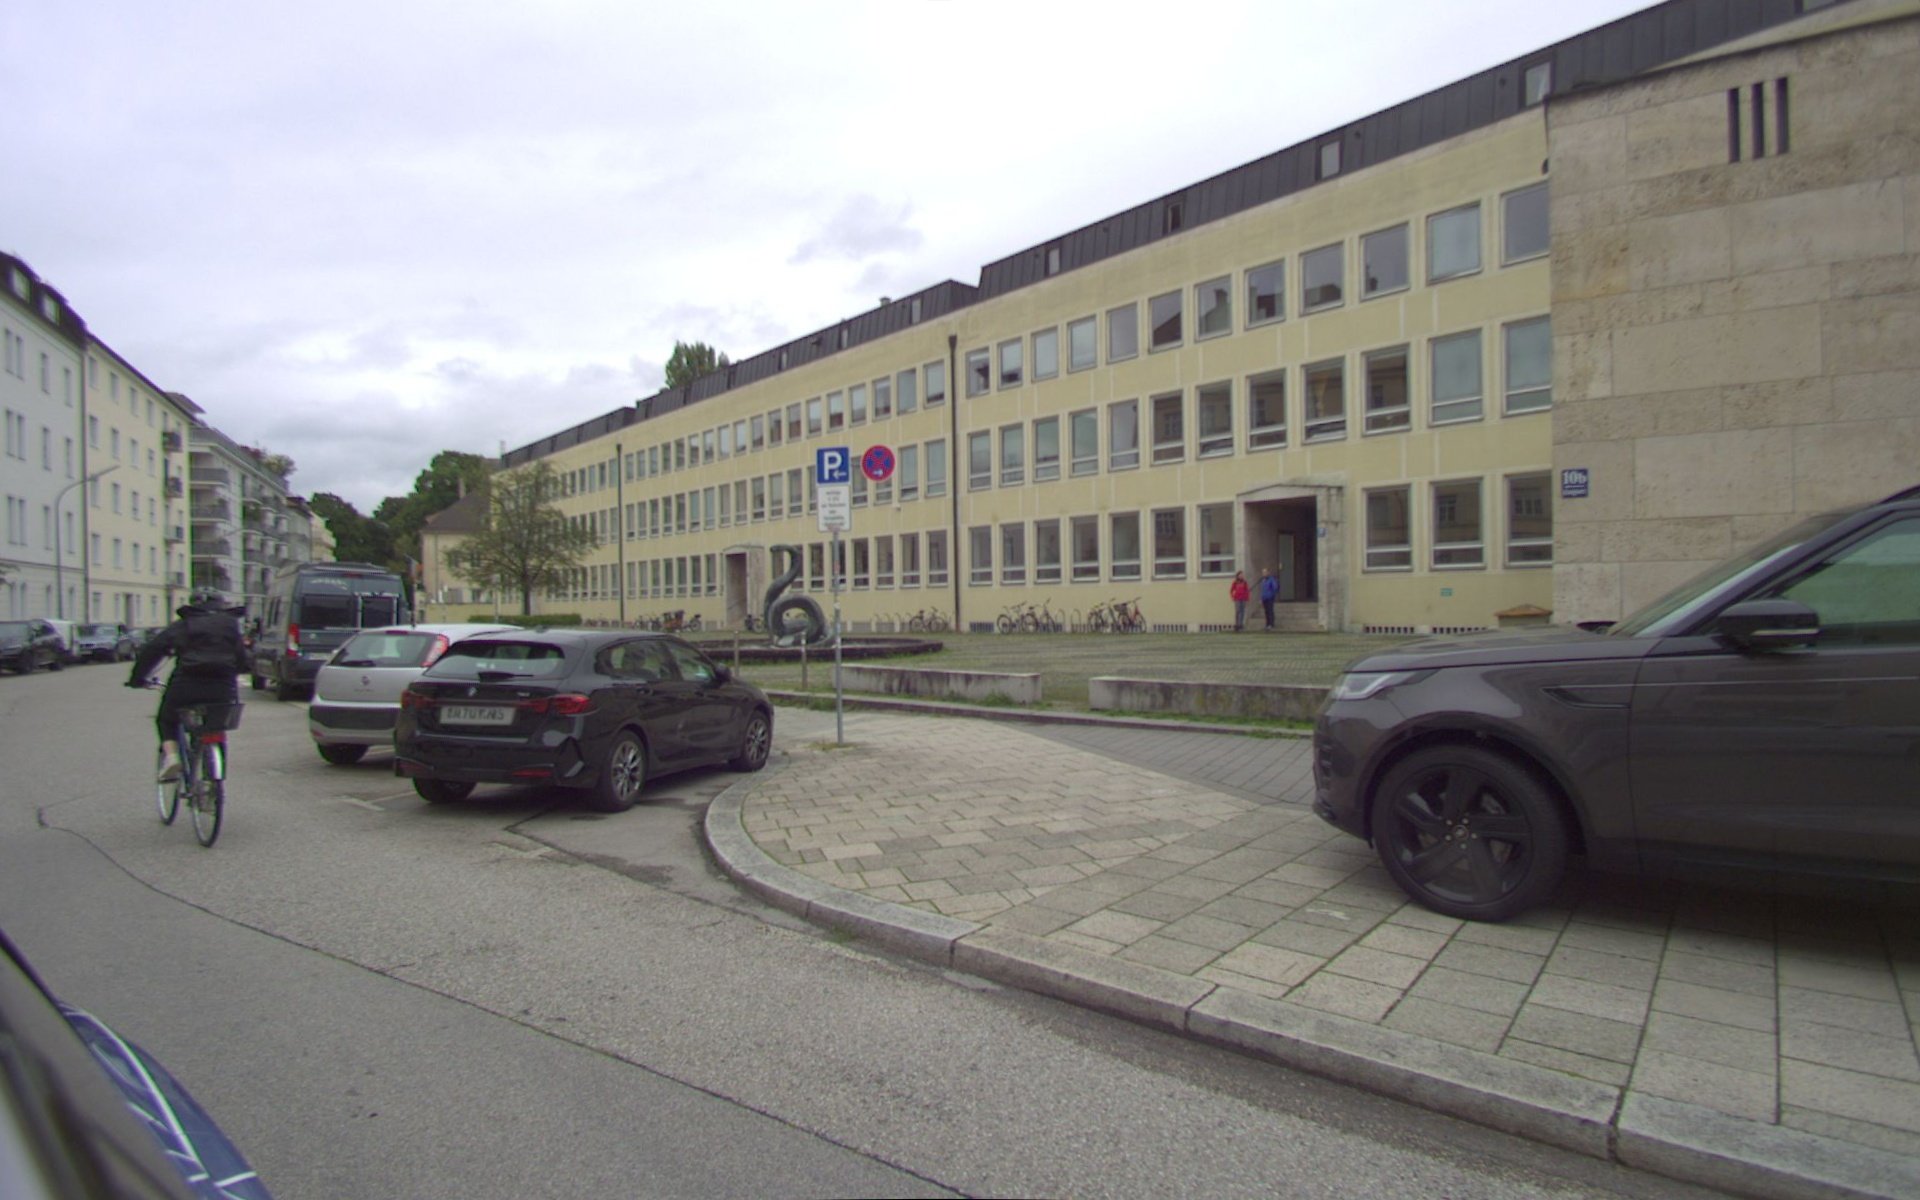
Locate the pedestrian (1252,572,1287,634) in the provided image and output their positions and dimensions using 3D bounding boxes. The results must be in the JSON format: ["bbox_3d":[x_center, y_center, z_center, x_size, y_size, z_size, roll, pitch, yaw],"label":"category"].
[{"bbox_3d":[8.932,0.085,29.193,0.647,1.757,0.706,-2,1,44],"label":"pedestrian"}]

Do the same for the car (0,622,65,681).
[{"bbox_3d":[-30.328,1.667,31.999,1.901,1.743,4.702,-3,-1,-27],"label":"car"}]

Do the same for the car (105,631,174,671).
[{"bbox_3d":[-38.065,2.312,47.028,1.753,1.603,3.714,-3,1,-28],"label":"car"}]

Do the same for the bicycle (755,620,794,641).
[{"bbox_3d":[-8.994,1.467,49.077,1.879,0.923,0.438,-3,1,-43],"label":"bicycle"}]

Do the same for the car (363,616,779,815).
[{"bbox_3d":[-3.158,0.874,9.194,1.730,1.384,3.994,0,-2,10],"label":"car"}]

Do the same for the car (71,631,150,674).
[{"bbox_3d":[-36.266,2.193,43.289,1.753,1.603,3.714,-3,1,-28],"label":"car"}]

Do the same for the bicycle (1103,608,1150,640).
[{"bbox_3d":[5.405,0.778,32.787,1.879,0.923,0.438,-3,1,-43],"label":"bicycle"}]

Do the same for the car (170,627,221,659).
[{"bbox_3d":[-44.669,2.483,59.215,1.753,1.603,3.714,-3,1,-28],"label":"car"}]

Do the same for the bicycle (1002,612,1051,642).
[{"bbox_3d":[2.382,0.953,36.257,1.855,0.947,0.533,-3,1,-40],"label":"bicycle"}]

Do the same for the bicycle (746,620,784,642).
[{"bbox_3d":[-9.559,1.519,49.691,1.879,0.923,0.438,-3,1,-43],"label":"bicycle"}]

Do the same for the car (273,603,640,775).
[{"bbox_3d":[-5.528,0.884,11.748,1.658,1.541,3.968,-2,1,12],"label":"car"}]

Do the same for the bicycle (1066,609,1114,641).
[{"bbox_3d":[4.346,0.823,33.740,1.879,0.923,0.438,-3,1,-43],"label":"bicycle"}]

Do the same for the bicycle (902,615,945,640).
[{"bbox_3d":[-1.476,1.119,41.369,1.879,0.923,0.438,-3,1,-43],"label":"bicycle"}]

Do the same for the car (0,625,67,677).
[{"bbox_3d":[-34.996,1.814,35.883,1.886,1.785,4.854,-1,-1,44],"label":"car"}]

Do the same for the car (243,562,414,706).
[{"bbox_3d":[-13.421,0.688,21.275,2.117,2.594,6.220,1,-2,-41],"label":"car"}]

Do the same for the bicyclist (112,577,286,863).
[{"bbox_3d":[-5.087,0.744,6.755,1.031,1.730,0.740,-3,-2,41],"label":"bicyclist"}]

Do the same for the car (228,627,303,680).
[{"bbox_3d":[-20.579,1.549,30.078,1.644,1.471,2.876,2,-2,-32],"label":"car"}]

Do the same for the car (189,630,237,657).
[{"bbox_3d":[-46.679,2.673,63.322,1.811,1.469,4.035,-3,1,-29],"label":"car"}]

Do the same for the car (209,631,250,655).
[{"bbox_3d":[-49.274,2.901,68.329,1.714,1.385,4.035,-3,1,-29],"label":"car"}]

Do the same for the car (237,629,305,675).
[{"bbox_3d":[-22.906,1.700,33.765,1.697,1.374,4.224,2,-2,-32],"label":"car"}]

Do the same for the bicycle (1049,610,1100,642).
[{"bbox_3d":[3.903,0.867,34.332,1.855,0.986,0.533,-3,1,-40],"label":"bicycle"}]

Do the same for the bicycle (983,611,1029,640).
[{"bbox_3d":[1.660,0.907,36.596,1.879,0.923,0.438,-3,1,-43],"label":"bicycle"}]

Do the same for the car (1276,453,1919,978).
[{"bbox_3d":[4.014,0.381,4.120,4.806,1.785,1.975,-2,-1,37],"label":"car"}]

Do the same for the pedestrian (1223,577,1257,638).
[{"bbox_3d":[8.268,0.222,29.849,0.647,1.757,0.706,-2,1,44],"label":"pedestrian"}]

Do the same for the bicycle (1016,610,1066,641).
[{"bbox_3d":[2.848,0.882,35.567,1.855,0.975,0.533,-3,1,-40],"label":"bicycle"}]

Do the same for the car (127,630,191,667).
[{"bbox_3d":[-39.887,2.394,50.478,1.753,1.603,3.714,-3,1,-28],"label":"car"}]

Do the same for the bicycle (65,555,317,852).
[{"bbox_3d":[-5.595,0.677,7.252,3.113,1.735,0.787,-3,-4,41],"label":"bicycle"}]

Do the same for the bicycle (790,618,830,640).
[{"bbox_3d":[-6.980,1.340,47.140,1.879,0.923,0.438,-3,1,-43],"label":"bicycle"}]

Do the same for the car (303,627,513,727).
[{"bbox_3d":[-8.945,1.176,16.243,4.143,1.398,1.806,-2,-4,45],"label":"car"}]

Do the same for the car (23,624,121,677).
[{"bbox_3d":[-33.782,1.874,38.631,1.753,1.743,4.404,-3,1,-27],"label":"car"}]

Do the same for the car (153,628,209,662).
[{"bbox_3d":[-42.152,2.422,54.831,1.753,1.603,3.714,-3,1,-28],"label":"car"}]
